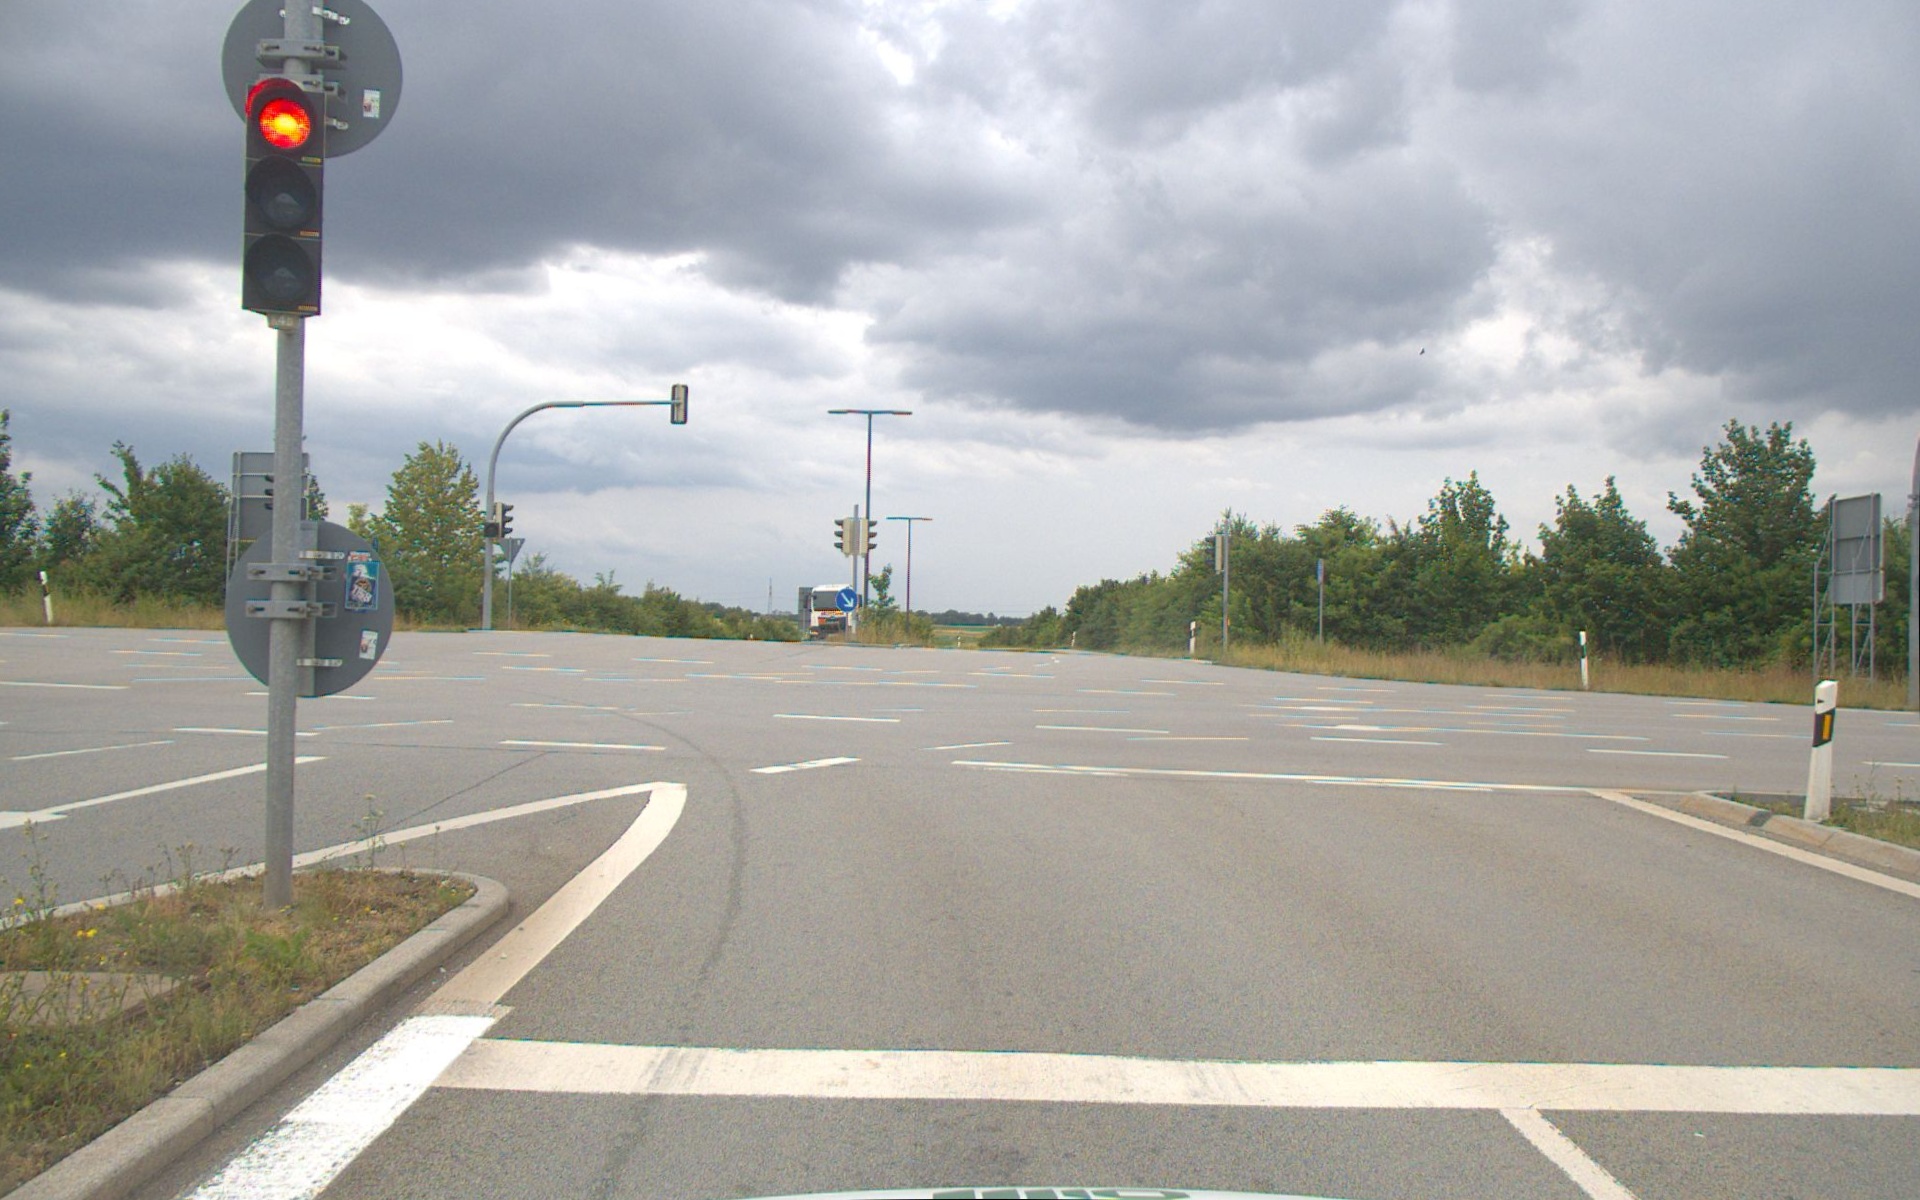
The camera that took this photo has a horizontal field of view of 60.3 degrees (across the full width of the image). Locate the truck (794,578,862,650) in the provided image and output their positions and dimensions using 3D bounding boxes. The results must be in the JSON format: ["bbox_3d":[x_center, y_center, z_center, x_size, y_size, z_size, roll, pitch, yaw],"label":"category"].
[{"bbox_3d":[-6.741,0.783,85.466,2.811,3.468,8.648,1,-1,0],"label":"truck"}]
